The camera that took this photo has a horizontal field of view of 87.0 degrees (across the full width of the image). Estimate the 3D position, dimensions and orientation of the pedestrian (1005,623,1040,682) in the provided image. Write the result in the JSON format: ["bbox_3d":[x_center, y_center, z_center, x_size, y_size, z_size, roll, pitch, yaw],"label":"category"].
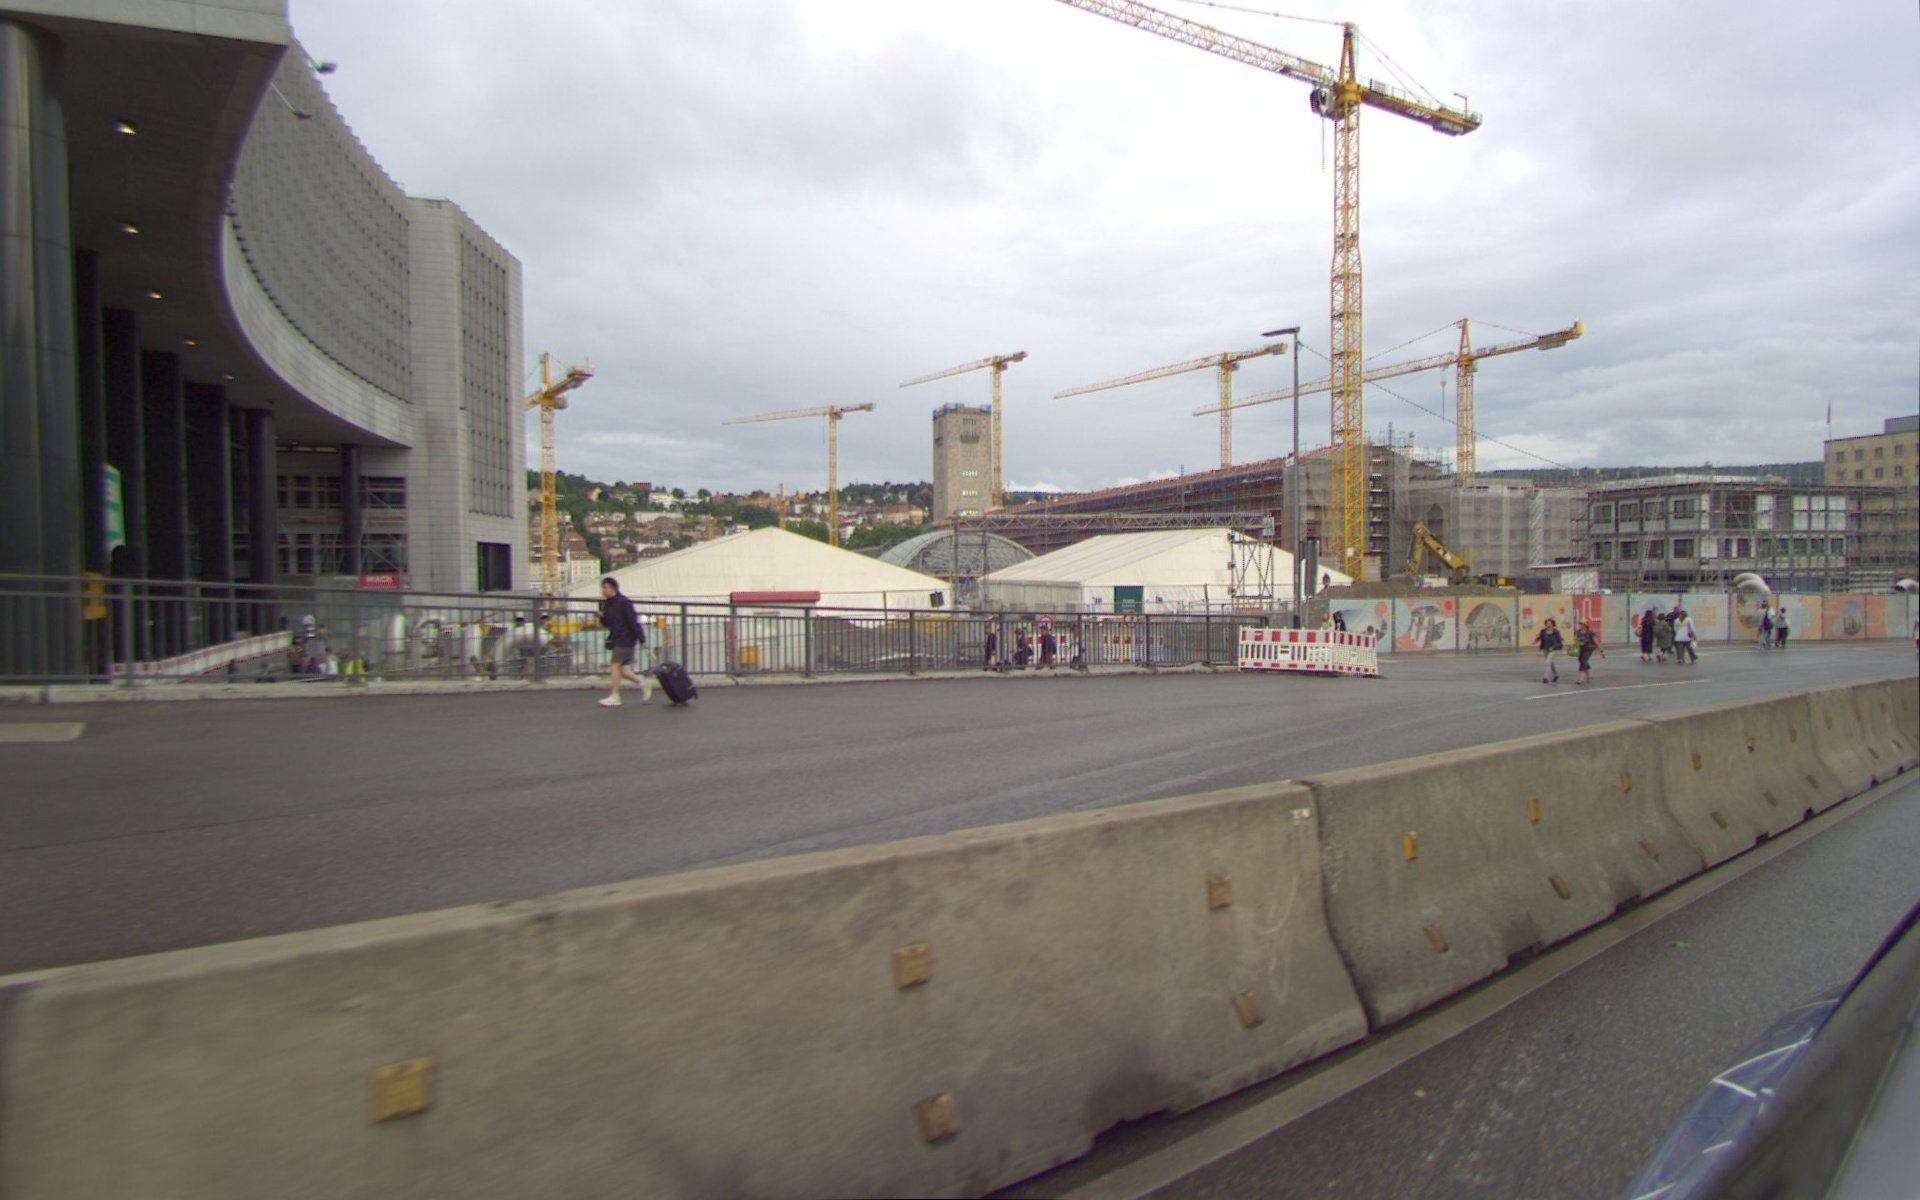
[{"bbox_3d":[1.825,1.532,29.751,0.897,1.657,0.701,0,1,-9],"label":"pedestrian"}]

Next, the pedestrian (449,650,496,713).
[{"bbox_3d":[-13.666,2.267,28.383,0.987,1.657,0.870,0,1,-9],"label":"pedestrian"}]

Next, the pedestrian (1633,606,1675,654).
[{"bbox_3d":[23.450,1.003,34.222,0.987,1.572,0.718,0,1,-19],"label":"pedestrian"}]

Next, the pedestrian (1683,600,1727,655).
[{"bbox_3d":[24.317,0.873,33.031,0.872,1.744,0.781,0,1,-19],"label":"pedestrian"}]

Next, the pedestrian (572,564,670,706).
[{"bbox_3d":[-4.127,0.408,12.395,1.039,1.673,0.733,1,0,-11],"label":"pedestrian"}]

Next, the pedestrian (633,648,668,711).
[{"bbox_3d":[-8.549,2.183,27.970,0.740,1.657,0.586,0,1,10],"label":"pedestrian"}]

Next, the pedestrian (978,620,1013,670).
[{"bbox_3d":[1.147,1.470,33.142,0.987,1.572,0.870,0,1,-9],"label":"pedestrian"}]

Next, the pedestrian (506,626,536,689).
[{"bbox_3d":[-11.886,1.555,27.426,0.554,1.636,0.707,0,1,-6],"label":"pedestrian"}]

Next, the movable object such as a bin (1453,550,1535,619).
[{"bbox_3d":[28.092,-0.836,53.211,4.147,3.451,1.945,-1,1,-31],"label":"movable object such as a bin"}]

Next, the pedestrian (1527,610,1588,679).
[{"bbox_3d":[14.491,1.065,24.569,0.932,1.613,0.865,0,1,-11],"label":"pedestrian"}]

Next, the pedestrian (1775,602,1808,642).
[{"bbox_3d":[32.835,0.866,39.951,0.751,1.572,0.649,0,1,-2],"label":"pedestrian"}]

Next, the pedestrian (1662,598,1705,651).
[{"bbox_3d":[26.256,0.876,36.737,0.987,1.840,0.871,0,1,-19],"label":"pedestrian"}]

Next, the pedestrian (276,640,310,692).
[{"bbox_3d":[-22.845,2.238,34.656,0.854,1.657,1.006,-1,1,-41],"label":"pedestrian"}]

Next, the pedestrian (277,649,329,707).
[{"bbox_3d":[-19.799,2.327,30.516,0.991,1.657,0.867,0,1,6],"label":"pedestrian"}]

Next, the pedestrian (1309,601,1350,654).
[{"bbox_3d":[12.301,0.901,33.716,0.987,1.710,0.870,0,1,-9],"label":"pedestrian"}]

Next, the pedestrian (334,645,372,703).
[{"bbox_3d":[-18.202,2.210,30.358,0.646,1.657,0.736,0,1,21],"label":"pedestrian"}]

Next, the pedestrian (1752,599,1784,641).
[{"bbox_3d":[32.516,0.789,40.748,0.751,1.676,0.649,0,1,-2],"label":"pedestrian"}]

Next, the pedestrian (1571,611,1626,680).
[{"bbox_3d":[14.999,1.054,23.791,0.788,1.595,0.735,0,-1,-11],"label":"pedestrian"}]

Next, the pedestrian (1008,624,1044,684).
[{"bbox_3d":[1.891,1.531,29.014,0.897,1.657,0.728,0,1,-9],"label":"pedestrian"}]

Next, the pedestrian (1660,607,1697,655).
[{"bbox_3d":[23.878,1.023,33.642,0.867,1.541,0.612,0,1,-19],"label":"pedestrian"}]

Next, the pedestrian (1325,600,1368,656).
[{"bbox_3d":[12.494,0.895,32.714,0.987,1.747,0.870,0,1,-9],"label":"pedestrian"}]

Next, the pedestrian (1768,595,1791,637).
[{"bbox_3d":[34.498,0.667,42.584,0.485,1.770,0.570,0,1,-20],"label":"pedestrian"}]

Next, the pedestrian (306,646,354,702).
[{"bbox_3d":[-19.696,2.299,31.644,0.988,1.657,0.870,0,1,-4],"label":"pedestrian"}]

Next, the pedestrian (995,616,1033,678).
[{"bbox_3d":[1.616,1.407,30.506,0.987,1.805,0.775,0,1,-9],"label":"pedestrian"}]

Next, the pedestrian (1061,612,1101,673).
[{"bbox_3d":[3.678,1.281,30.766,0.987,1.803,0.870,0,1,-9],"label":"pedestrian"}]

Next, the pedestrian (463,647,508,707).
[{"bbox_3d":[-13.805,2.235,29.485,0.987,1.657,0.870,0,1,-9],"label":"pedestrian"}]

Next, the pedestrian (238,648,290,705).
[{"bbox_3d":[-21.313,2.320,31.019,0.992,1.657,0.866,0,1,11],"label":"pedestrian"}]

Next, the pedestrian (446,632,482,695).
[{"bbox_3d":[-15.078,1.913,30.761,0.633,1.838,0.751,0,1,21],"label":"pedestrian"}]

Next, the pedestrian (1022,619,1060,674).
[{"bbox_3d":[2.526,1.435,31.463,0.987,1.657,0.870,0,1,-9],"label":"pedestrian"}]

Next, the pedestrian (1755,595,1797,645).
[{"bbox_3d":[31.189,0.749,38.675,0.913,1.872,0.821,0,1,-2],"label":"pedestrian"}]
